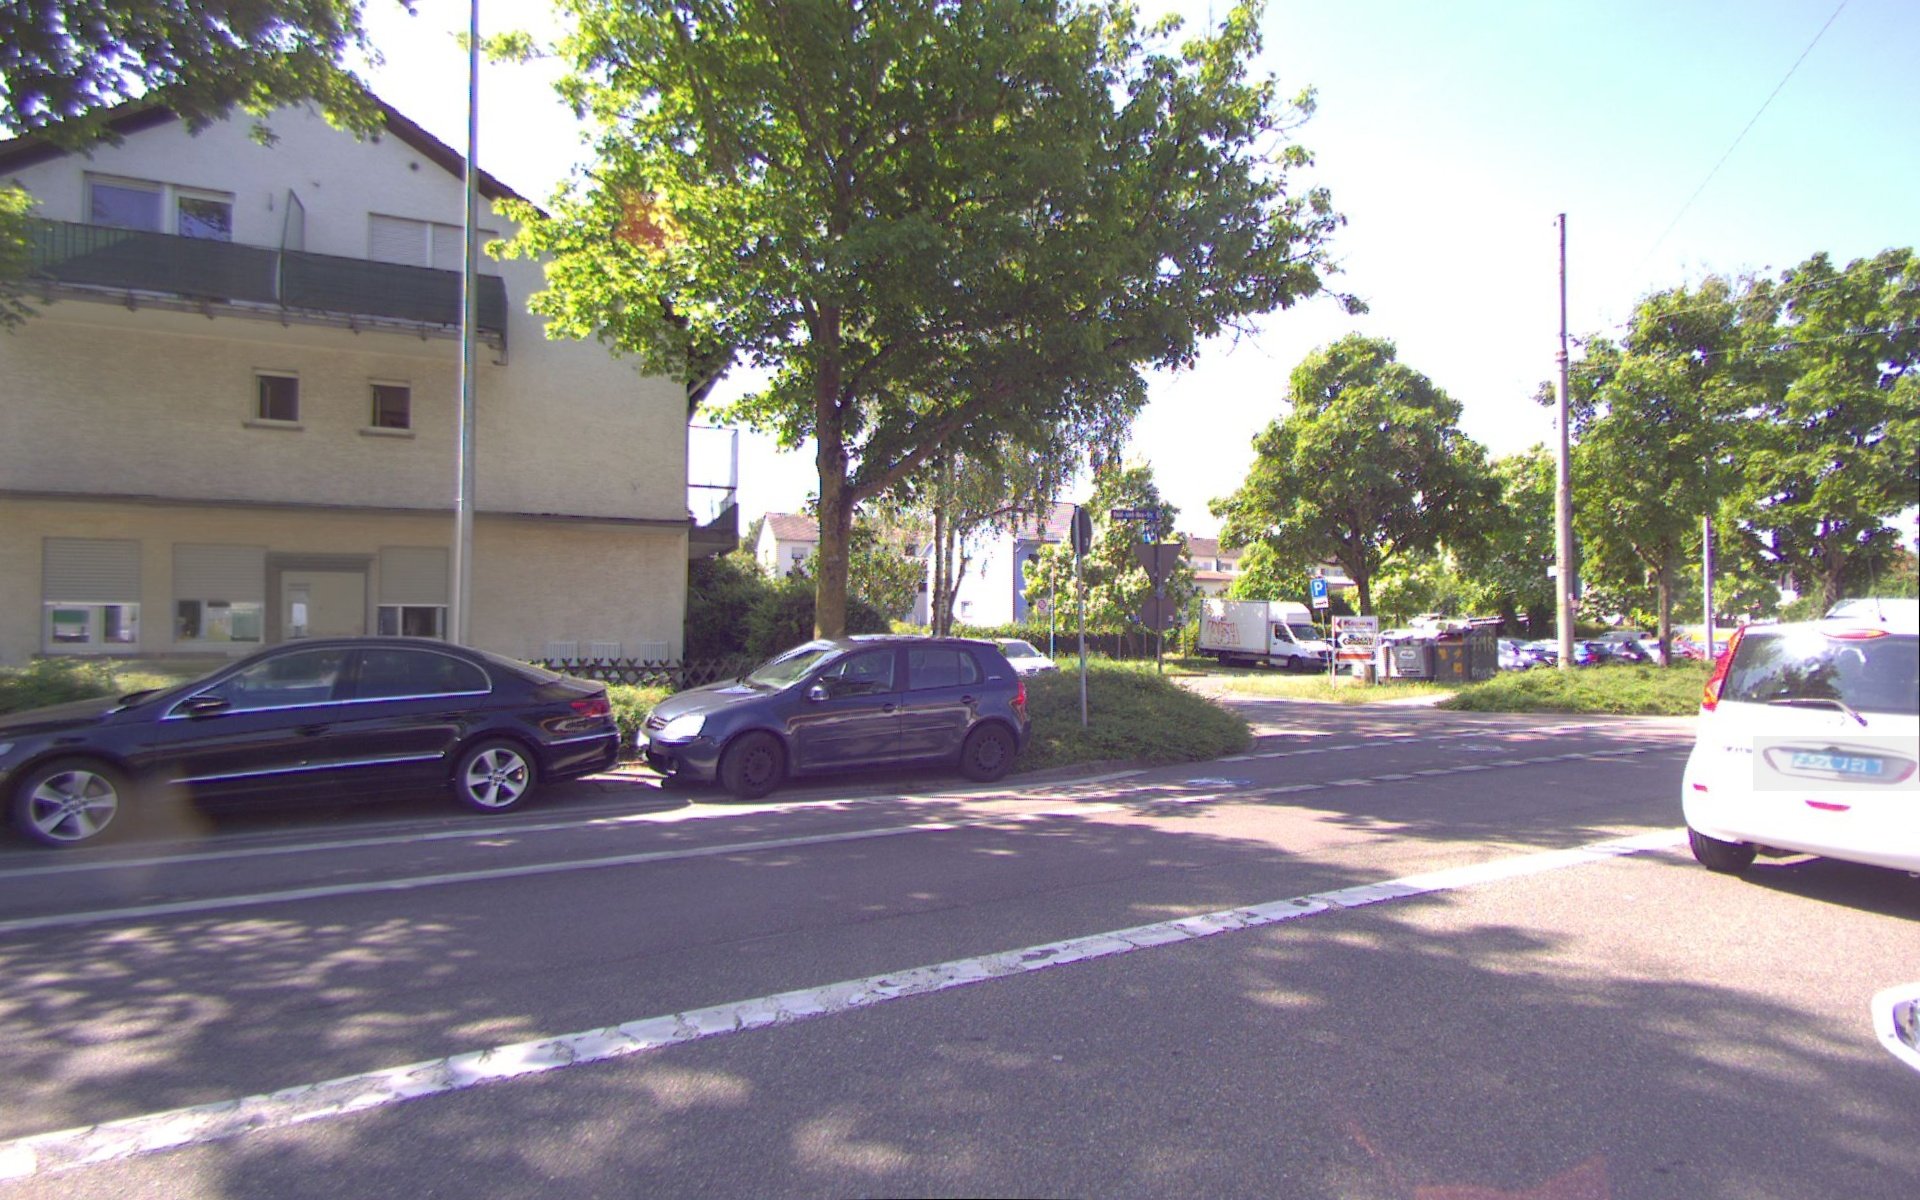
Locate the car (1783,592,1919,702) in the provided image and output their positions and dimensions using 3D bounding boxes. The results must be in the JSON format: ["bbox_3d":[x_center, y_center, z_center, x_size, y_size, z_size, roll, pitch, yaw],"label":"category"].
[{"bbox_3d":[23.790,1.154,25.772,5.745,2.550,2.114,1,0,-29],"label":"car"}]

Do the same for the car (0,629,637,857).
[{"bbox_3d":[-5.247,1.007,8.378,4.568,1.434,1.854,1,0,-31],"label":"car"}]

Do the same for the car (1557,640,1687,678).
[{"bbox_3d":[26.348,2.343,40.093,1.712,1.434,3.964,2,-4,-33],"label":"car"}]

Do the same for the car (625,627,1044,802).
[{"bbox_3d":[-1.276,1.066,10.481,3.988,1.462,1.718,1,0,-28],"label":"car"}]

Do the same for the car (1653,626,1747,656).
[{"bbox_3d":[50.507,2.796,68.688,2.043,1.811,4.762,2,0,-34],"label":"car"}]

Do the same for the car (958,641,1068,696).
[{"bbox_3d":[1.408,1.920,28.439,1.704,1.434,3.983,1,-3,-20],"label":"car"}]

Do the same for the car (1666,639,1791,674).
[{"bbox_3d":[33.160,2.463,43.450,1.712,1.434,3.964,2,-4,-33],"label":"car"}]

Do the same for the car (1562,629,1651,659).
[{"bbox_3d":[44.516,3.011,69.293,2.043,1.811,4.762,2,0,-34],"label":"car"}]

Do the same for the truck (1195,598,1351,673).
[{"bbox_3d":[14.415,1.564,46.836,2.646,3.151,6.967,1,0,-30],"label":"truck"}]

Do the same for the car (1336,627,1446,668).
[{"bbox_3d":[21.691,2.339,50.707,2.043,1.811,4.762,2,0,-34],"label":"car"}]

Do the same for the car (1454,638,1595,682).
[{"bbox_3d":[19.643,2.086,35.087,1.712,1.434,3.964,2,-4,-33],"label":"car"}]

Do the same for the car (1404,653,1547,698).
[{"bbox_3d":[17.320,2.501,33.897,1.712,1.434,3.964,2,-4,-33],"label":"car"}]

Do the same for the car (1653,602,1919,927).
[{"bbox_3d":[6.419,0.840,6.272,4.491,1.568,1.655,1,-1,-29],"label":"car"}]

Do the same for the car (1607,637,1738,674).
[{"bbox_3d":[28.869,2.261,40.809,1.712,1.434,3.964,2,-4,-33],"label":"car"}]

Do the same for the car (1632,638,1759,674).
[{"bbox_3d":[30.738,2.350,42.081,1.712,1.434,3.964,2,-4,-33],"label":"car"}]

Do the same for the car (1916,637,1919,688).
[{"bbox_3d":[29.391,1.834,28.752,4.230,1.434,1.854,1,0,-31],"label":"car"}]

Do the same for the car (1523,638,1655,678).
[{"bbox_3d":[24.168,2.227,38.712,1.712,1.434,3.964,2,-4,-33],"label":"car"}]

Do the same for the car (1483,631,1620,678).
[{"bbox_3d":[21.411,1.984,36.505,1.712,1.631,3.964,2,-4,-33],"label":"car"}]
